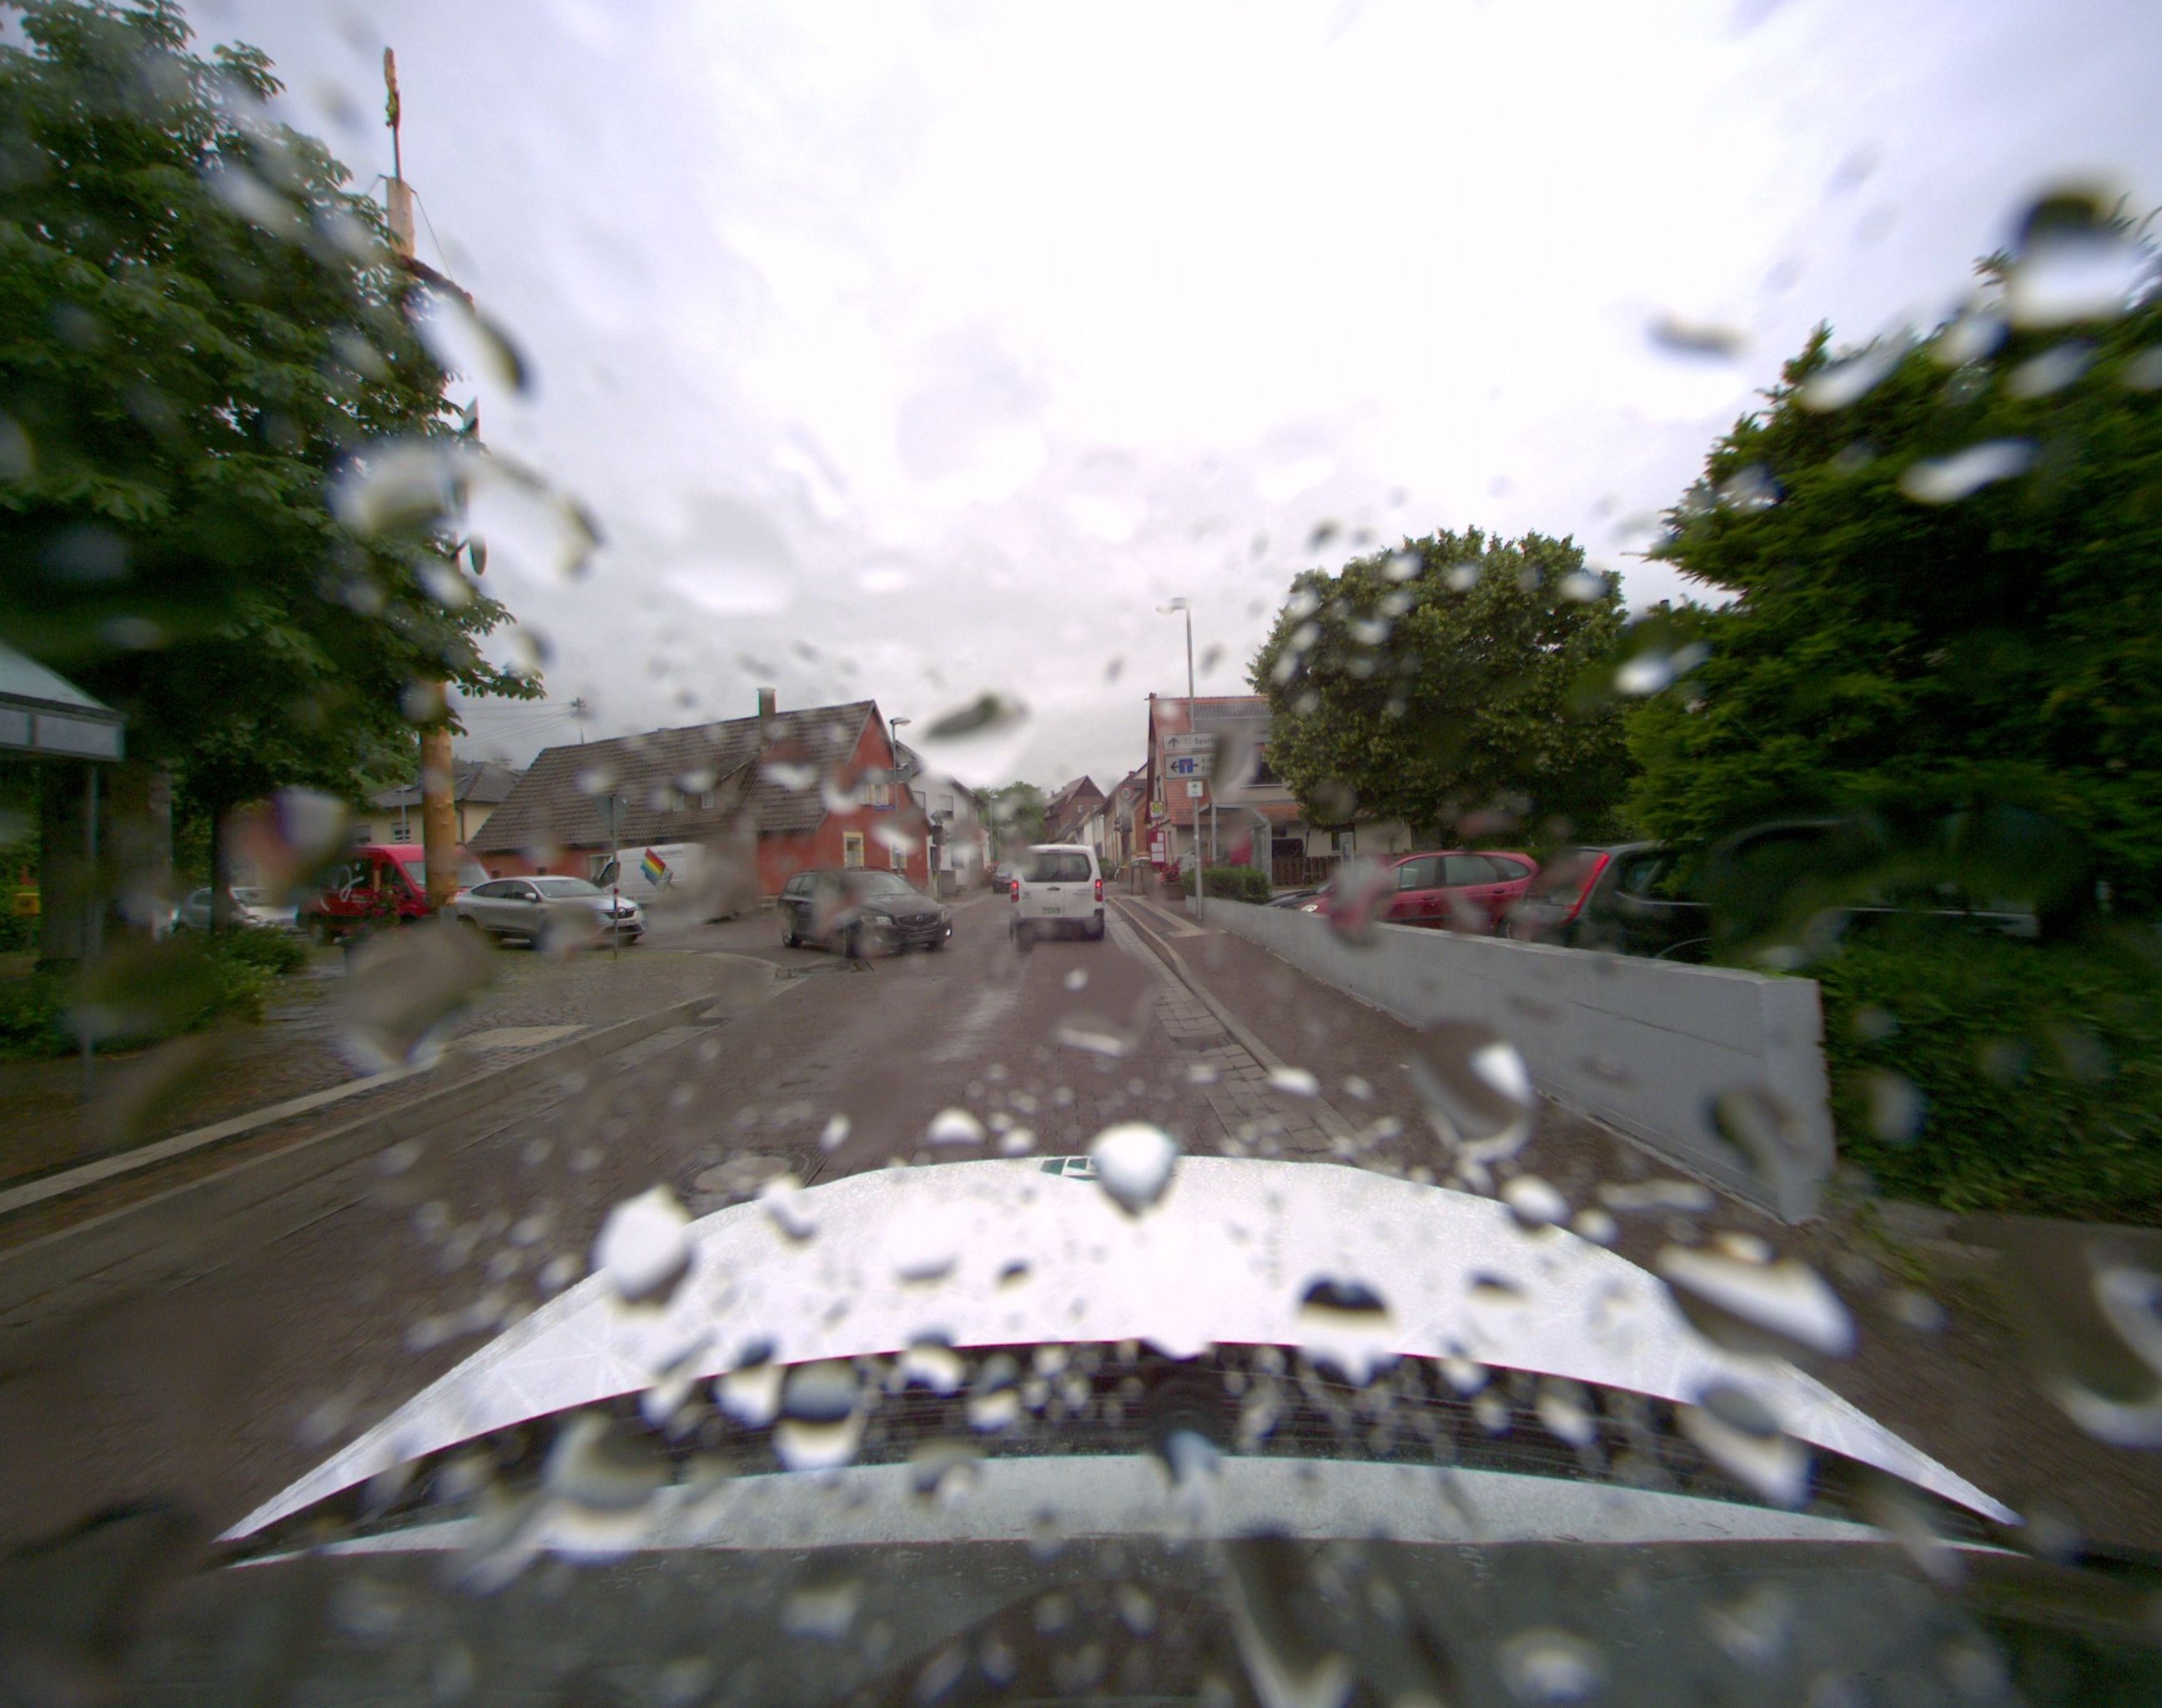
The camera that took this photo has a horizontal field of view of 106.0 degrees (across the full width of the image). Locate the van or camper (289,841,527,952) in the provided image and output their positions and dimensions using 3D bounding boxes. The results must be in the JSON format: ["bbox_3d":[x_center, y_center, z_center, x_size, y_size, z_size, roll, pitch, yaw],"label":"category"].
[{"bbox_3d":[-16.767,1.007,20.249,5.806,2.474,2.167,-1,-1,24],"label":"van or camper"}]

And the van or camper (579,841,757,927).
[{"bbox_3d":[-13.160,0.956,25.913,5.095,2.435,2.224,-3,0,24],"label":"van or camper"}]

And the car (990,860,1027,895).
[{"bbox_3d":[-4.047,1.269,45.949,1.808,1.779,4.013,-3,0,-3],"label":"car"}]

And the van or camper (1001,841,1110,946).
[{"bbox_3d":[-0.499,0.738,16.693,1.938,1.851,3.998,-1,-1,-1],"label":"van or camper"}]

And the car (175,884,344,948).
[{"bbox_3d":[-22.398,1.685,22.220,3.767,1.550,1.810,-3,-2,20],"label":"car"}]

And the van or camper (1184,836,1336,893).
[{"bbox_3d":[6.425,0.373,29.594,5.060,1.923,1.873,-1,-1,-5],"label":"van or camper"}]

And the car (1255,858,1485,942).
[{"bbox_3d":[5.548,0.882,16.069,3.931,1.378,1.755,-3,0,6],"label":"car"}]

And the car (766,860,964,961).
[{"bbox_3d":[-4.087,0.963,14.931,1.859,1.477,4.264,-4,0,-39],"label":"car"}]

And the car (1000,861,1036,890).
[{"bbox_3d":[-3.991,1.374,52.197,1.743,1.636,4.417,-5,-2,0],"label":"car"}]

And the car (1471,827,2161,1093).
[{"bbox_3d":[5.205,0.652,5.667,4.198,1.480,1.701,-3,-1,14],"label":"car"}]

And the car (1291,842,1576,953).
[{"bbox_3d":[5.648,0.704,13.586,4.040,1.589,1.864,-3,-1,13],"label":"car"}]

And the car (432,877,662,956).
[{"bbox_3d":[-11.656,1.313,17.815,4.409,1.550,1.891,-1,-1,19],"label":"car"}]

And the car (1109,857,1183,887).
[{"bbox_3d":[3.711,1.003,47.511,1.884,1.590,4.571,-1,1,-34],"label":"car"}]
